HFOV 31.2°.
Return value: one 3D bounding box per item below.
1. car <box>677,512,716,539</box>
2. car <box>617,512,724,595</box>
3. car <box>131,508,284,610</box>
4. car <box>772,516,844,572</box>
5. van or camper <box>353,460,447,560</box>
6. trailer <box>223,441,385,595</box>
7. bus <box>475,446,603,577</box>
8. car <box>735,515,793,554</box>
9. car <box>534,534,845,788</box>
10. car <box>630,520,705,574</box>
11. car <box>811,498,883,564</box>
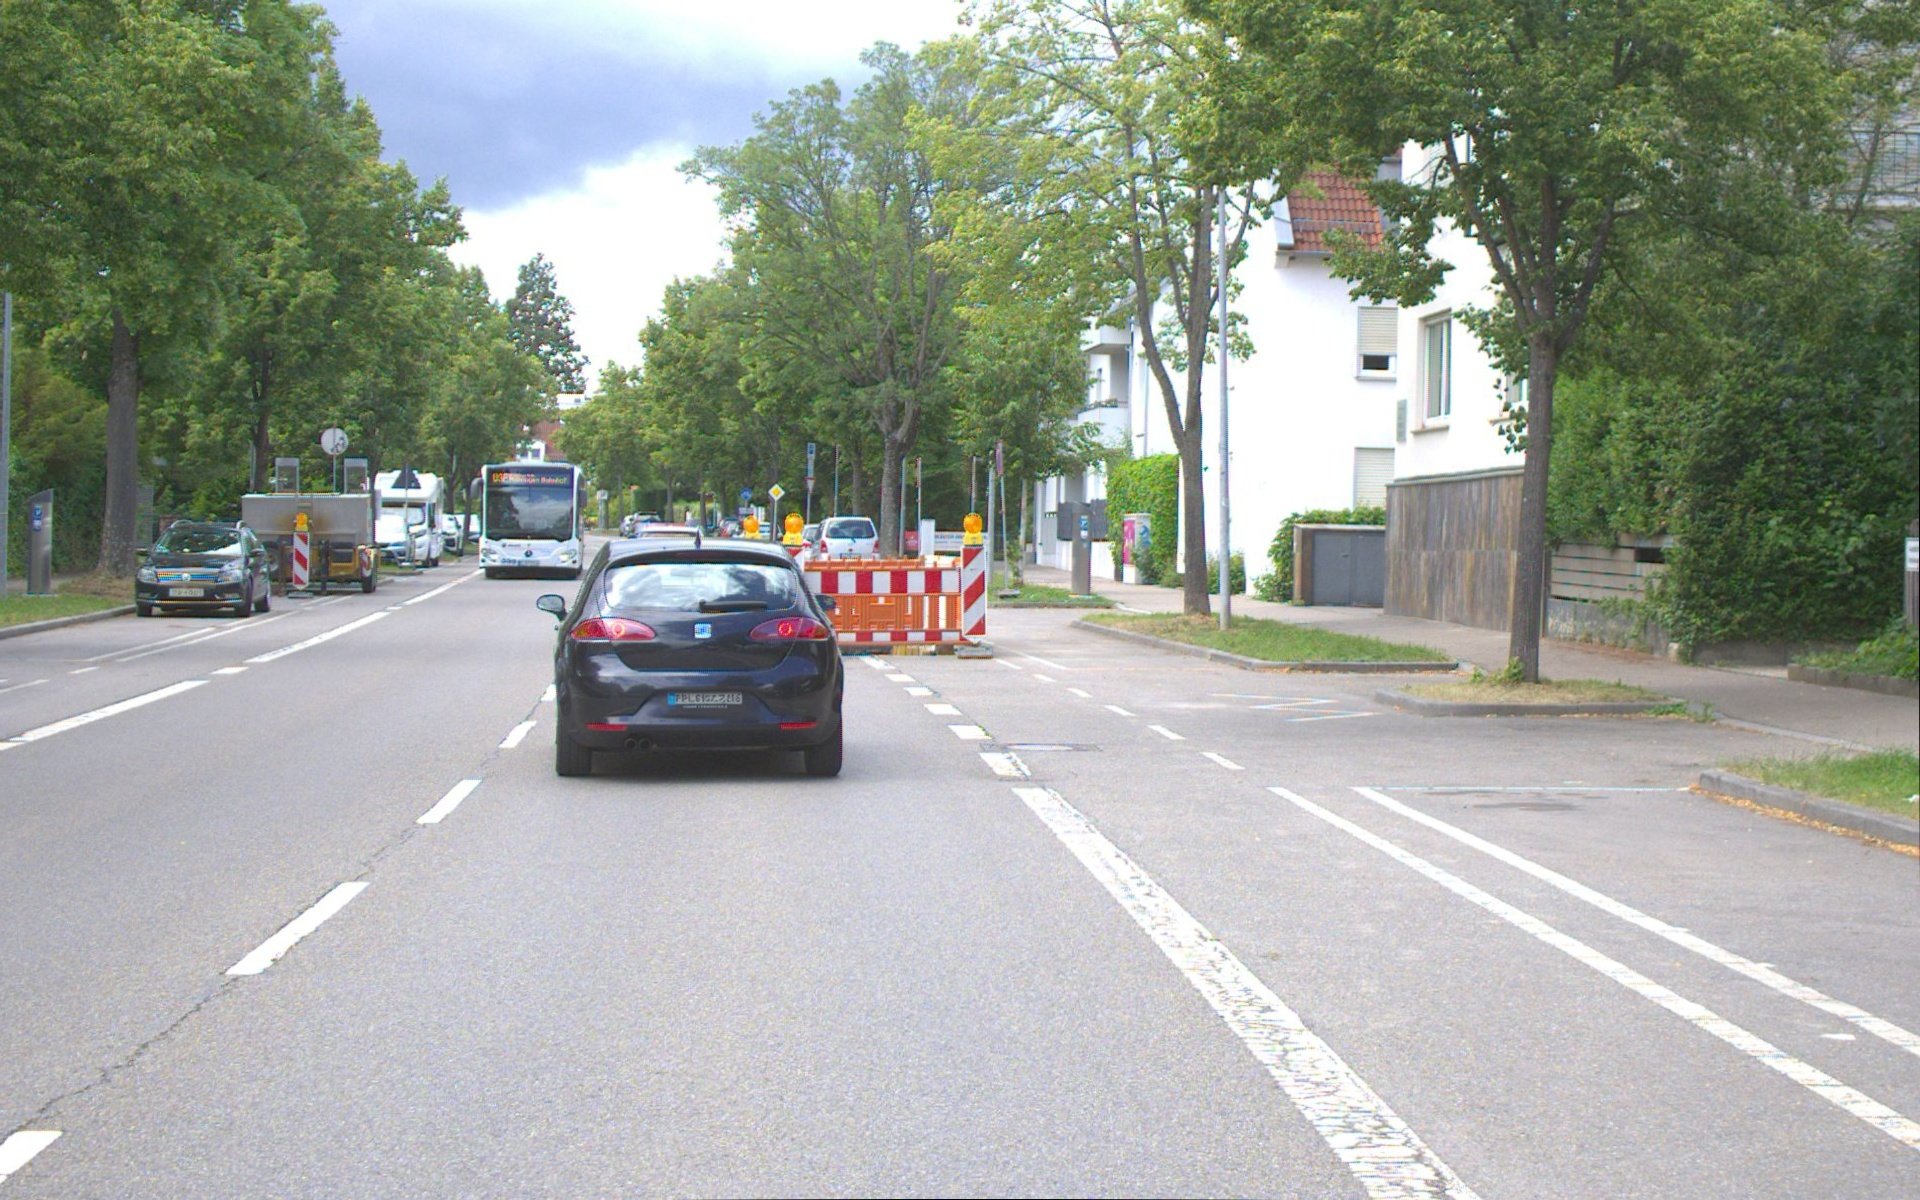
[{"bbox_3d":[-14.416,-4.103,187.809,1.682,1.427,4.046,0,2,-11],"label":"car"},{"bbox_3d":[-5.616,-0.918,66.999,1.993,1.552,4.001,1,1,-4],"label":"car"},{"bbox_3d":[-12.135,-0.625,55.680,1.860,1.548,4.620,1,0,-6],"label":"car"},{"bbox_3d":[-4.227,-1.560,95.145,1.687,1.488,4.228,0,1,-6],"label":"car"},{"bbox_3d":[-17.534,-2.831,107.941,2.435,2.999,7.695,0,1,-6],"label":"van or camper"},{"bbox_3d":[-13.385,-1.646,70.611,2.673,2.931,7.477,1,1,-7],"label":"trailer"},{"bbox_3d":[-11.653,-2.361,96.517,2.804,3.277,18.048,1,1,-5],"label":"bus"},{"bbox_3d":[-7.596,-2.563,132.905,2.020,1.438,5.026,1,1,-5],"label":"car"},{"bbox_3d":[-1.716,0.323,21.685,1.783,1.444,3.559,1,1,-5],"label":"car"},{"bbox_3d":[-8.567,-1.562,100.383,1.993,1.525,4.001,0,1,-8],"label":"car"},{"bbox_3d":[-2.956,-1.807,89.441,1.632,1.660,3.649,0,1,-6],"label":"car"}]
